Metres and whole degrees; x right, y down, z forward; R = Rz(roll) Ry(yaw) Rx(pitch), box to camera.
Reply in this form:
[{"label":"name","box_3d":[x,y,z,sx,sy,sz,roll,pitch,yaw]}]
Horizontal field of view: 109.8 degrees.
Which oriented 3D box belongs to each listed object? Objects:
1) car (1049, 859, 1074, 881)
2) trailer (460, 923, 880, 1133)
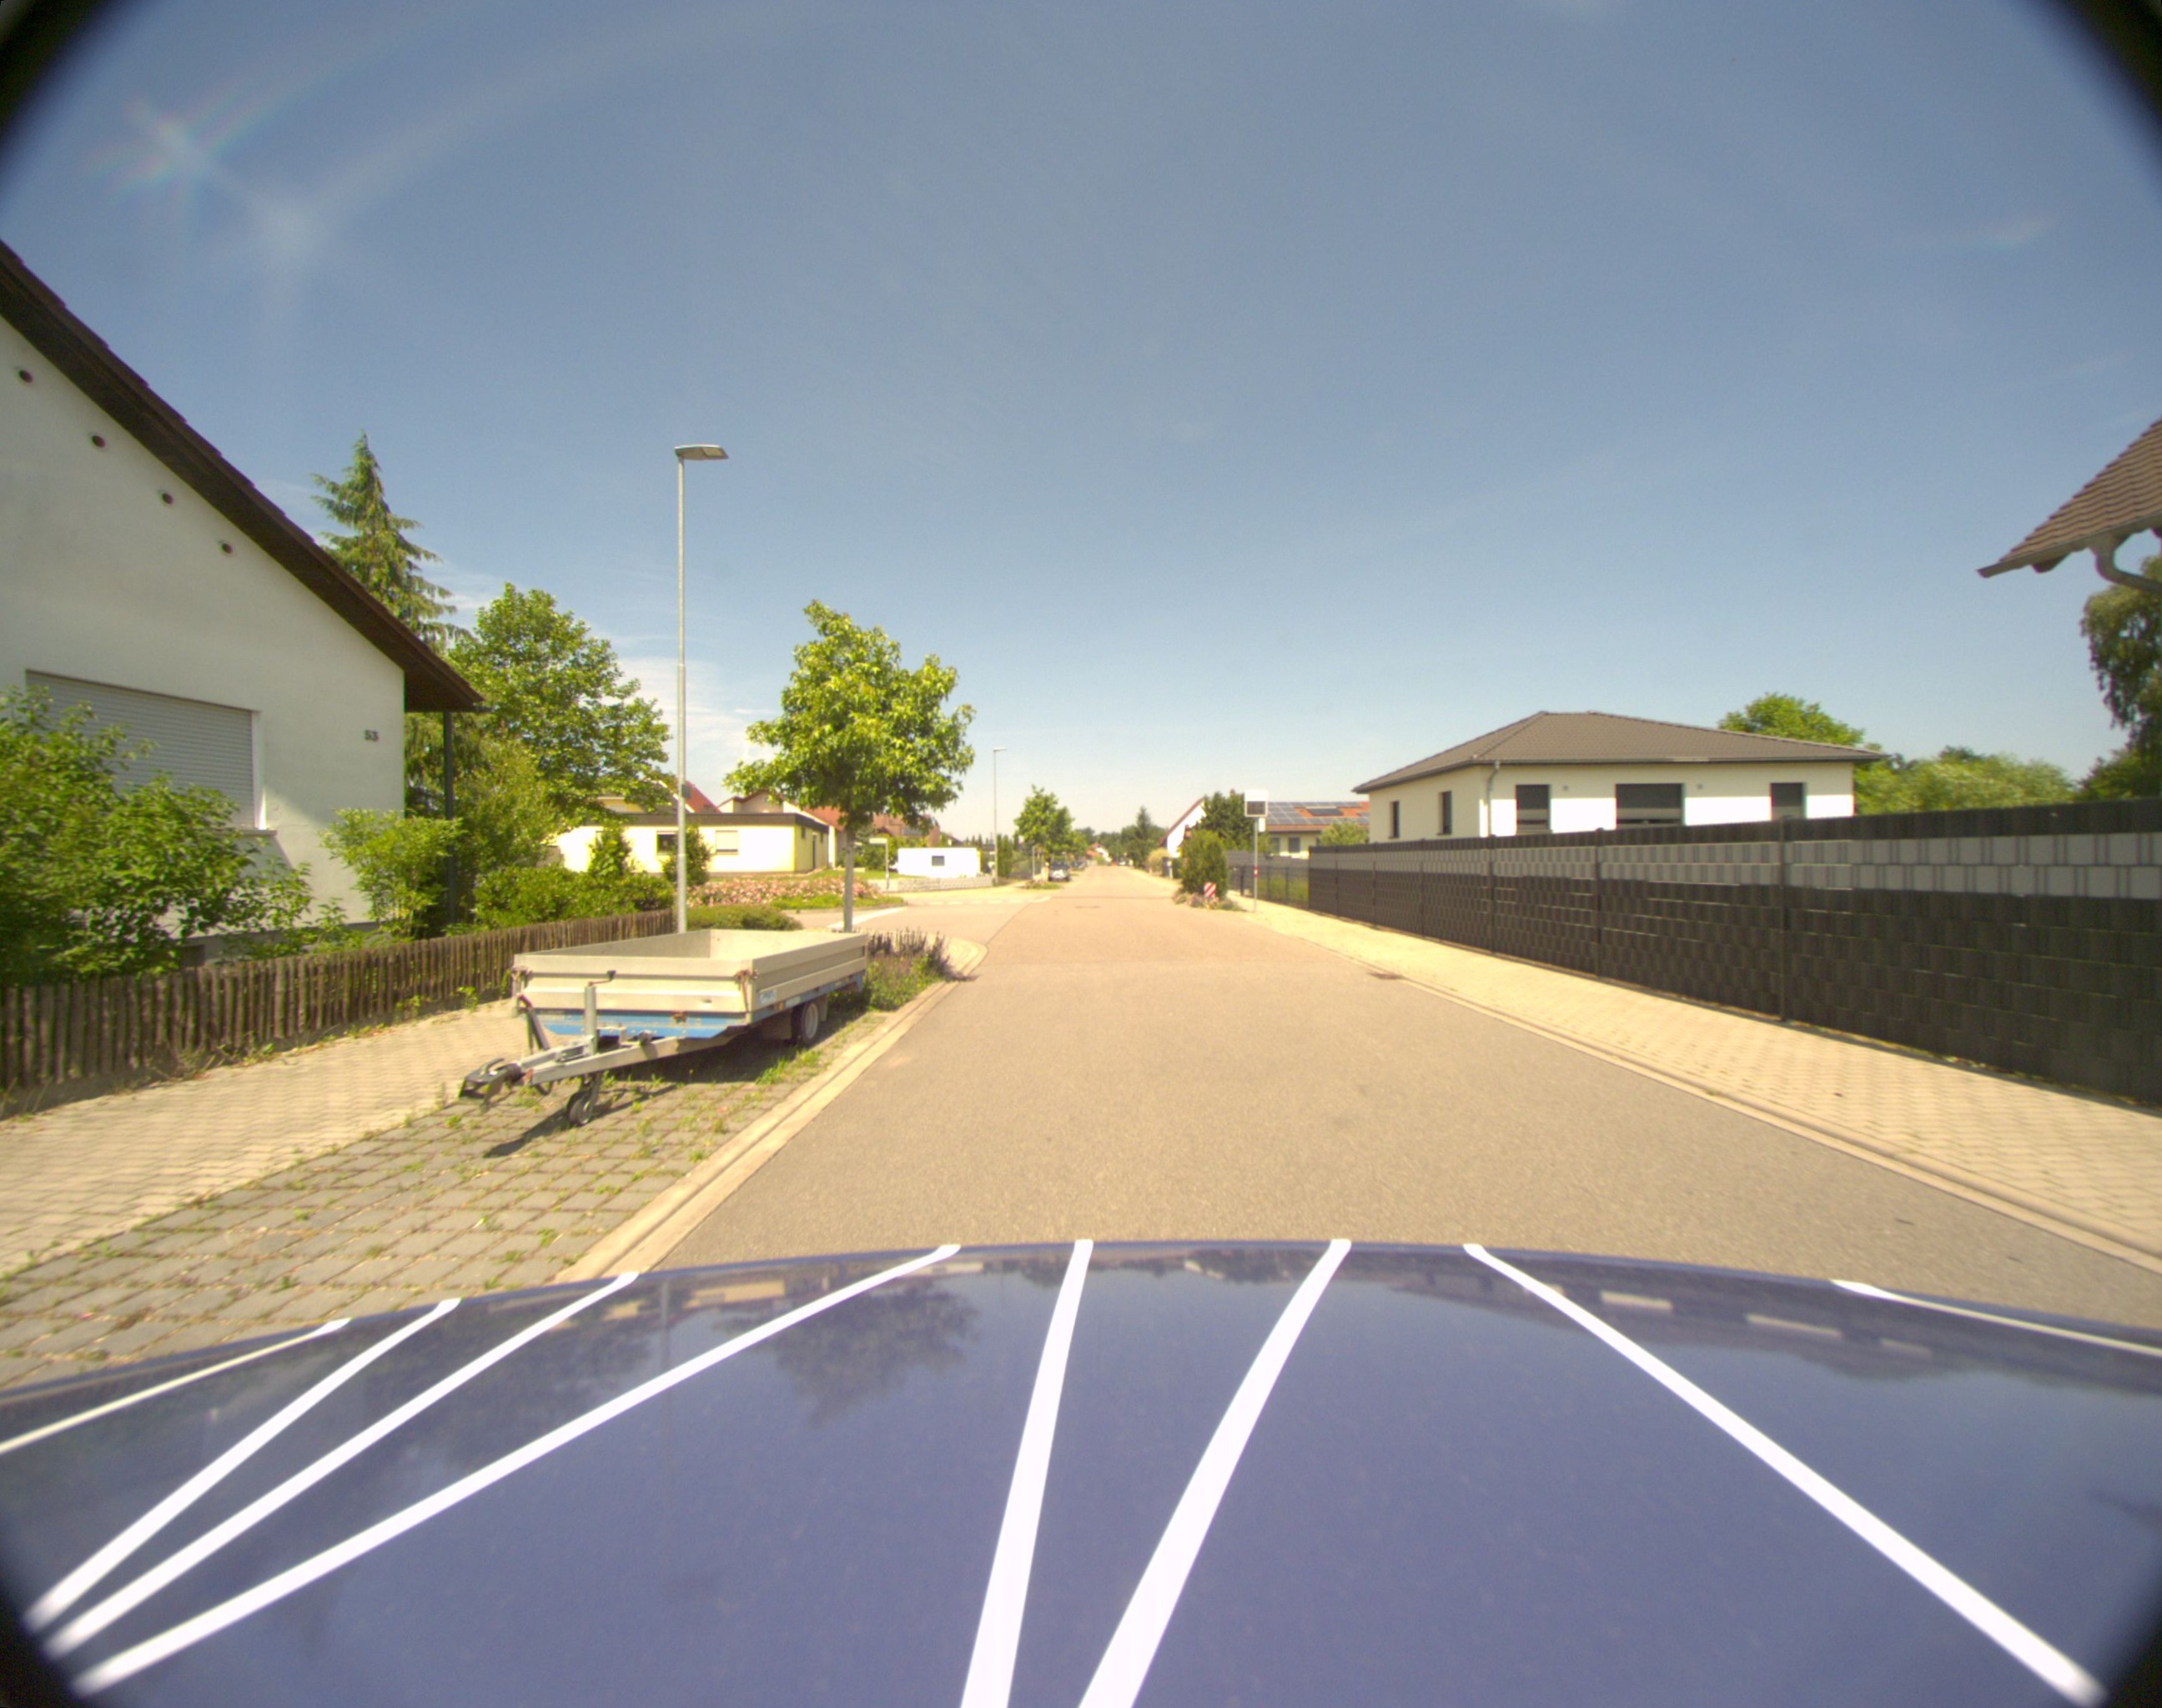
[{"label":"car","box_3d":[-1.515,1.235,59.948,1.597,1.630,3.804,1,0,4]},{"label":"trailer","box_3d":[-2.943,1.217,6.176,1.792,1.052,2.899,0,0,1]}]
